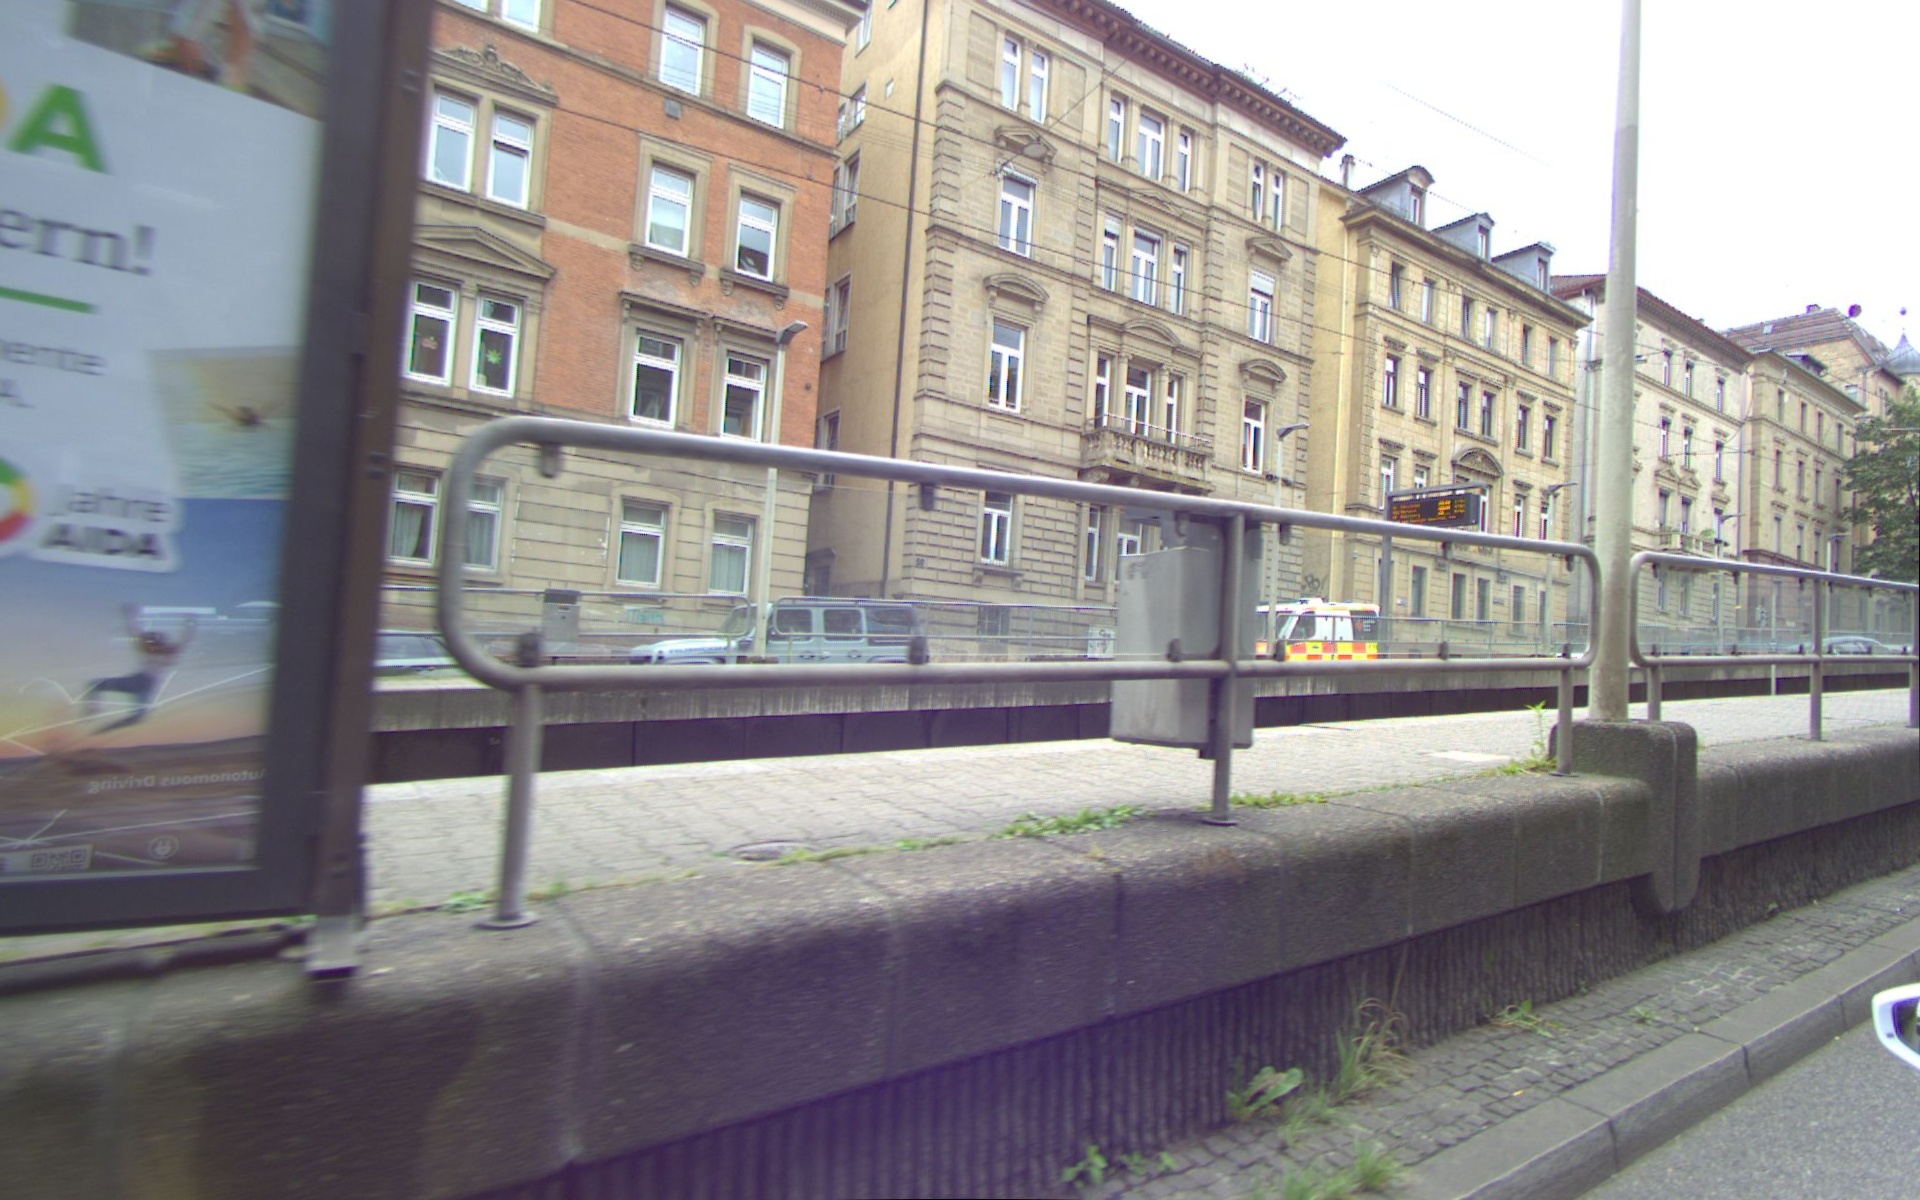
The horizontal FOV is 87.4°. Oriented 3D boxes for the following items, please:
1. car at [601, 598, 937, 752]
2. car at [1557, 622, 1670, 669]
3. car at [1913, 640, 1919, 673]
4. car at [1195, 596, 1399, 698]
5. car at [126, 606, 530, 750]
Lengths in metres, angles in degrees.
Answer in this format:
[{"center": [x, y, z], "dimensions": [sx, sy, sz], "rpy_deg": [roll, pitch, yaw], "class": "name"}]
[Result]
[{"center": [-2.689, 1.010, 14.548], "dimensions": [4.370, 1.920, 1.981], "rpy_deg": [2, -2, -35], "class": "car"}, {"center": [22.250, 1.535, 34.159], "dimensions": [4.218, 1.490, 1.756], "rpy_deg": [2, -1, -35], "class": "car"}, {"center": [51.375, 2.945, 52.134], "dimensions": [3.958, 1.701, 1.924], "rpy_deg": [2, -3, -34], "class": "car"}, {"center": [8.543, 1.168, 25.223], "dimensions": [5.398, 2.335, 1.982], "rpy_deg": [2, -2, -34], "class": "car"}, {"center": [-8.385, 0.982, 13.690], "dimensions": [4.370, 1.667, 1.850], "rpy_deg": [2, -2, -35], "class": "car"}]
